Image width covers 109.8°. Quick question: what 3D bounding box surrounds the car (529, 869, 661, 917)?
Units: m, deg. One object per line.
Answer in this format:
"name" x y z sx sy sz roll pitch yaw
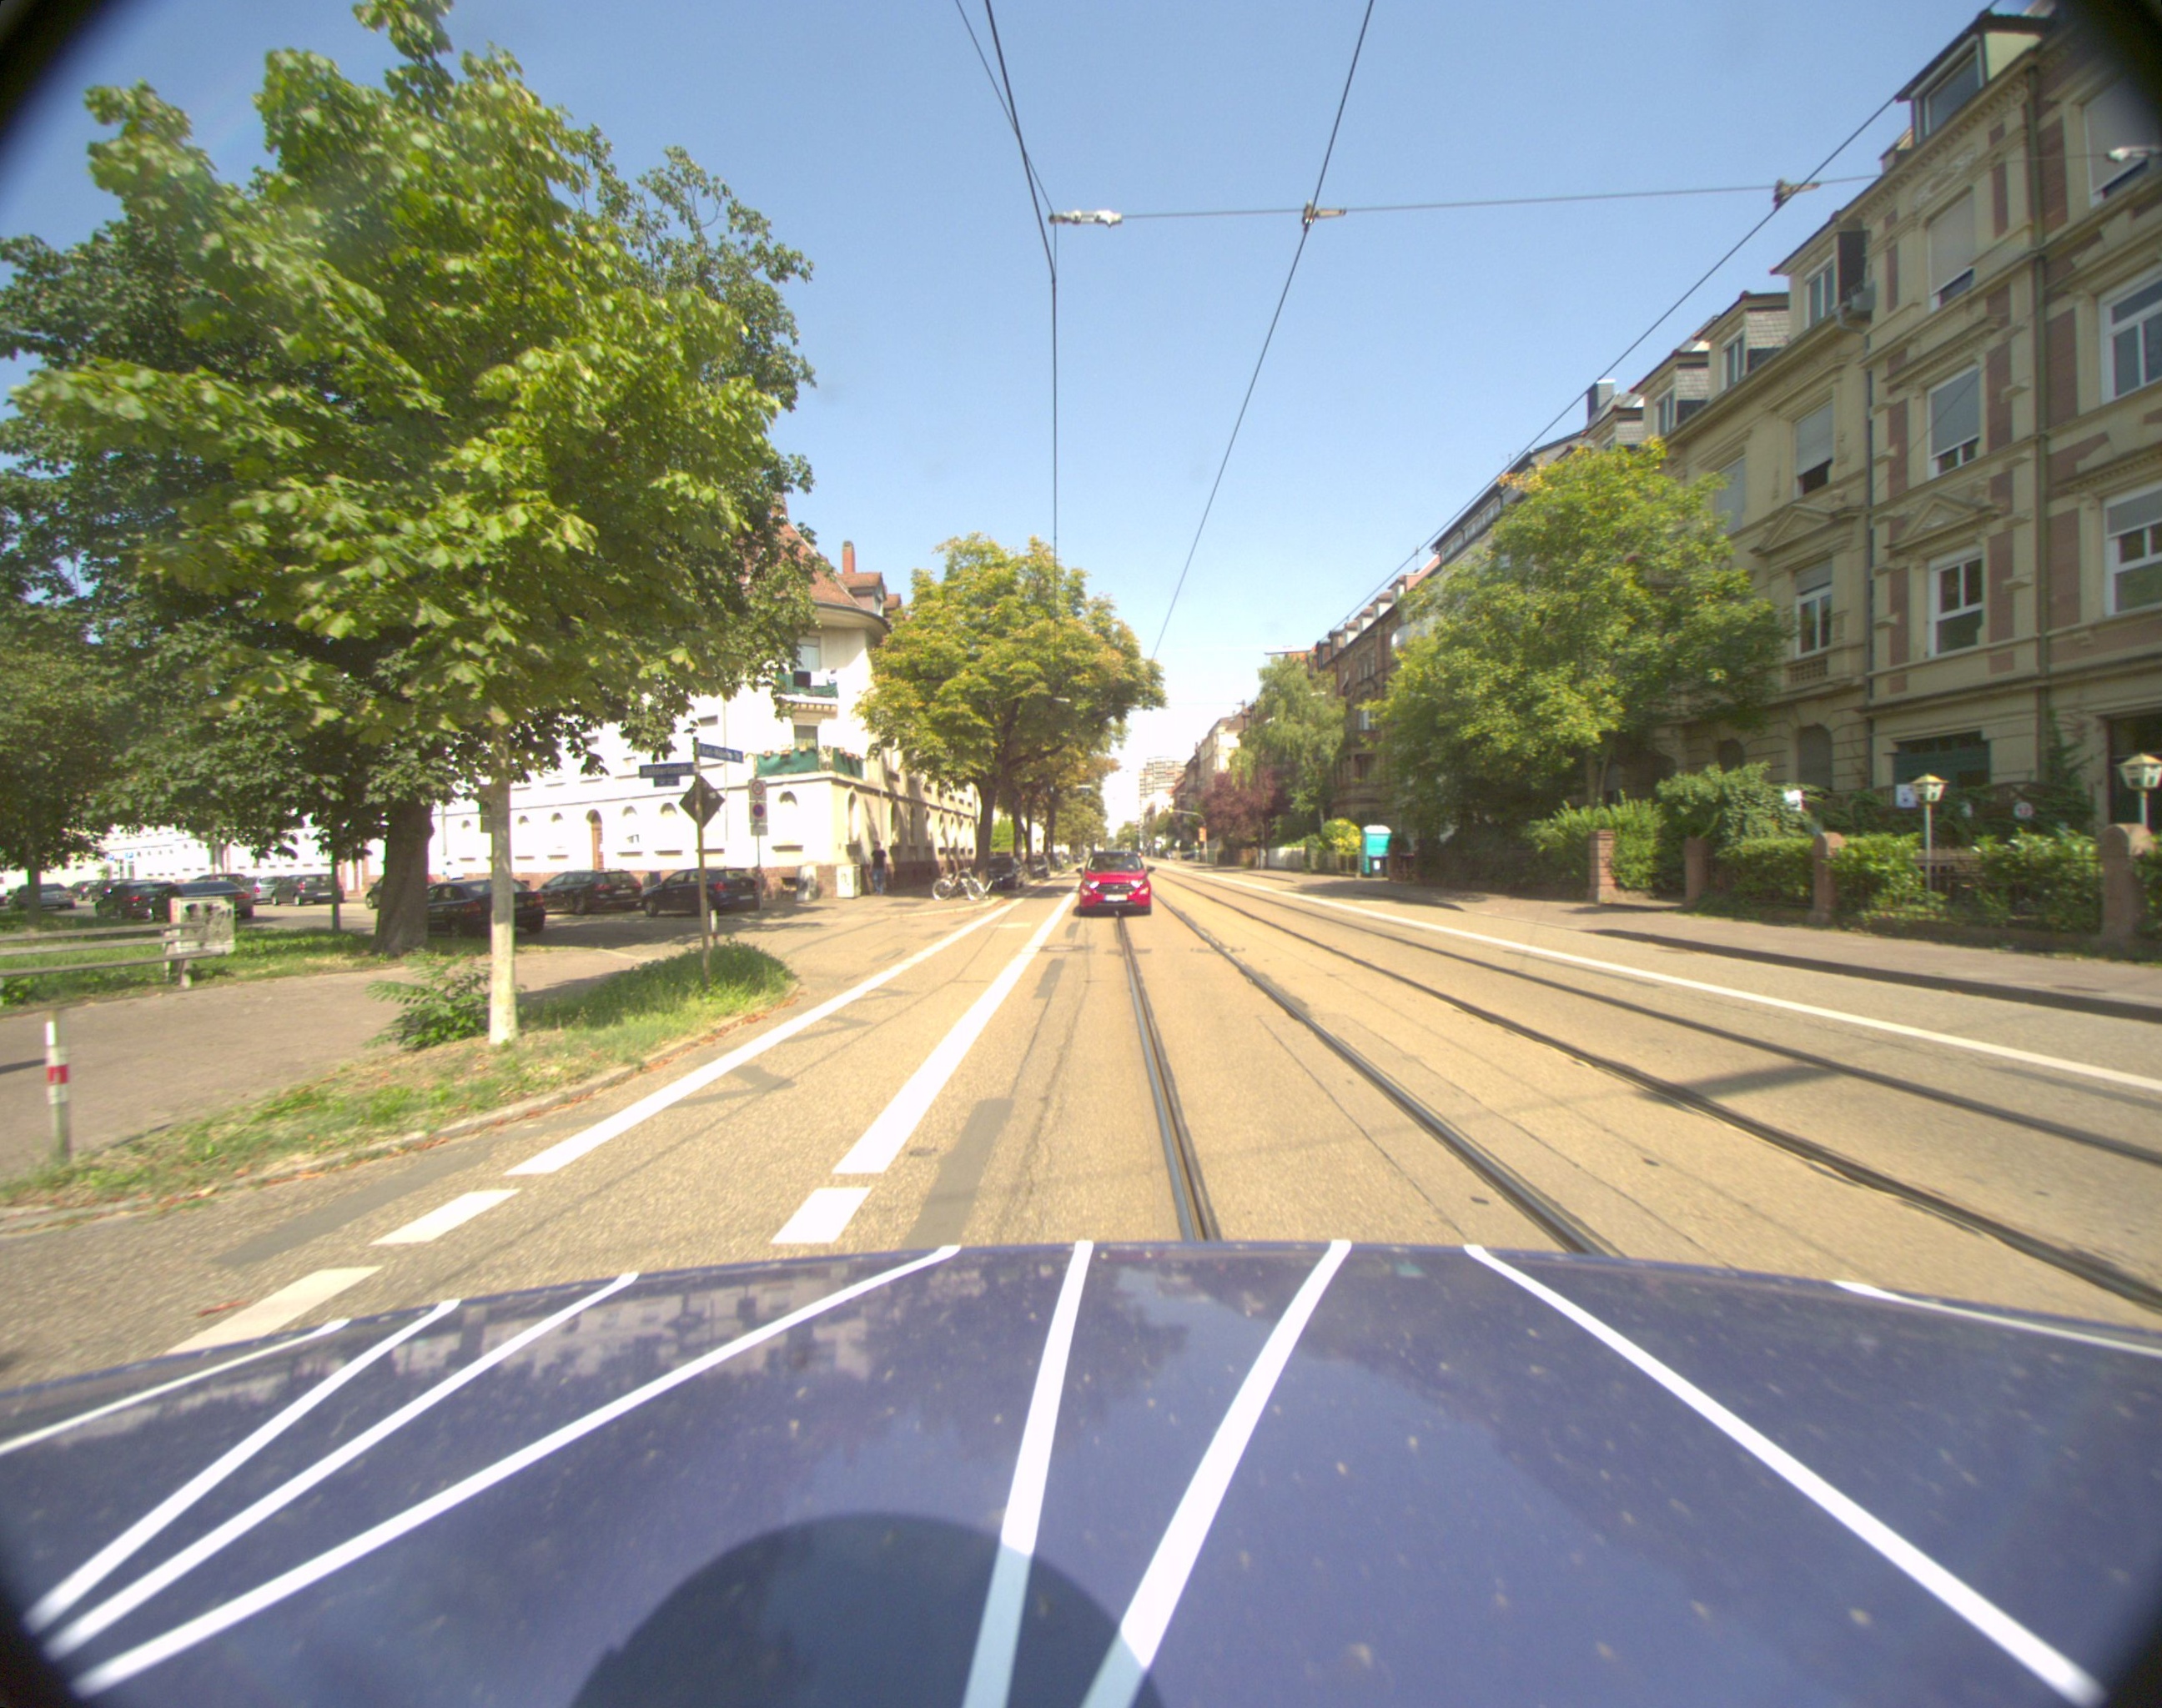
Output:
"car" -16.165 1.261 25.262 3.989 1.430 1.979 -1 1 29

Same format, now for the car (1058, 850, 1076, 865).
"car" -1.419 0.330 78.595 1.555 1.489 4.265 -1 1 2

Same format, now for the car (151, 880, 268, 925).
"car" -31.245 1.685 27.230 4.266 1.422 1.841 -1 1 29

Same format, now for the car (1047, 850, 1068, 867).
"car" -2.087 0.387 69.594 1.598 1.489 4.052 -1 1 2

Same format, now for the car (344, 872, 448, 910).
"car" -28.597 1.523 31.710 3.989 1.430 1.979 -1 1 29

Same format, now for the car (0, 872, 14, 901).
"car" -68.471 2.056 47.197 3.989 1.726 2.048 -1 1 29

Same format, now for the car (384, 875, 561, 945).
"car" -14.473 1.265 18.047 3.989 1.422 1.841 -1 1 29

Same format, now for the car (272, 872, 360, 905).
"car" -37.181 1.655 36.919 3.989 1.430 1.979 -1 1 29

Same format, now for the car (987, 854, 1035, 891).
"car" -3.069 0.781 34.061 1.598 1.489 4.052 -1 1 2

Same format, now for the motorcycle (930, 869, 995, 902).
"motorcycle" -3.922 1.026 25.201 1.999 1.009 0.796 2 1 2

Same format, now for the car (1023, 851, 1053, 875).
"car" -2.870 0.599 51.823 1.598 1.489 4.052 -1 1 2

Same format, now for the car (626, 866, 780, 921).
"car" -11.206 1.131 22.568 3.990 1.435 1.978 -1 1 25

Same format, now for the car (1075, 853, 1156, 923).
"car" 0.896 0.780 19.432 1.815 1.542 4.021 -2 0 3

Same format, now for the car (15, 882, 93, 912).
"car" -53.065 2.184 39.235 3.989 1.422 1.841 -1 1 29

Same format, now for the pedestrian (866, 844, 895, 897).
"pedestrian" -6.801 0.551 25.831 0.749 1.775 0.632 -1 1 2
